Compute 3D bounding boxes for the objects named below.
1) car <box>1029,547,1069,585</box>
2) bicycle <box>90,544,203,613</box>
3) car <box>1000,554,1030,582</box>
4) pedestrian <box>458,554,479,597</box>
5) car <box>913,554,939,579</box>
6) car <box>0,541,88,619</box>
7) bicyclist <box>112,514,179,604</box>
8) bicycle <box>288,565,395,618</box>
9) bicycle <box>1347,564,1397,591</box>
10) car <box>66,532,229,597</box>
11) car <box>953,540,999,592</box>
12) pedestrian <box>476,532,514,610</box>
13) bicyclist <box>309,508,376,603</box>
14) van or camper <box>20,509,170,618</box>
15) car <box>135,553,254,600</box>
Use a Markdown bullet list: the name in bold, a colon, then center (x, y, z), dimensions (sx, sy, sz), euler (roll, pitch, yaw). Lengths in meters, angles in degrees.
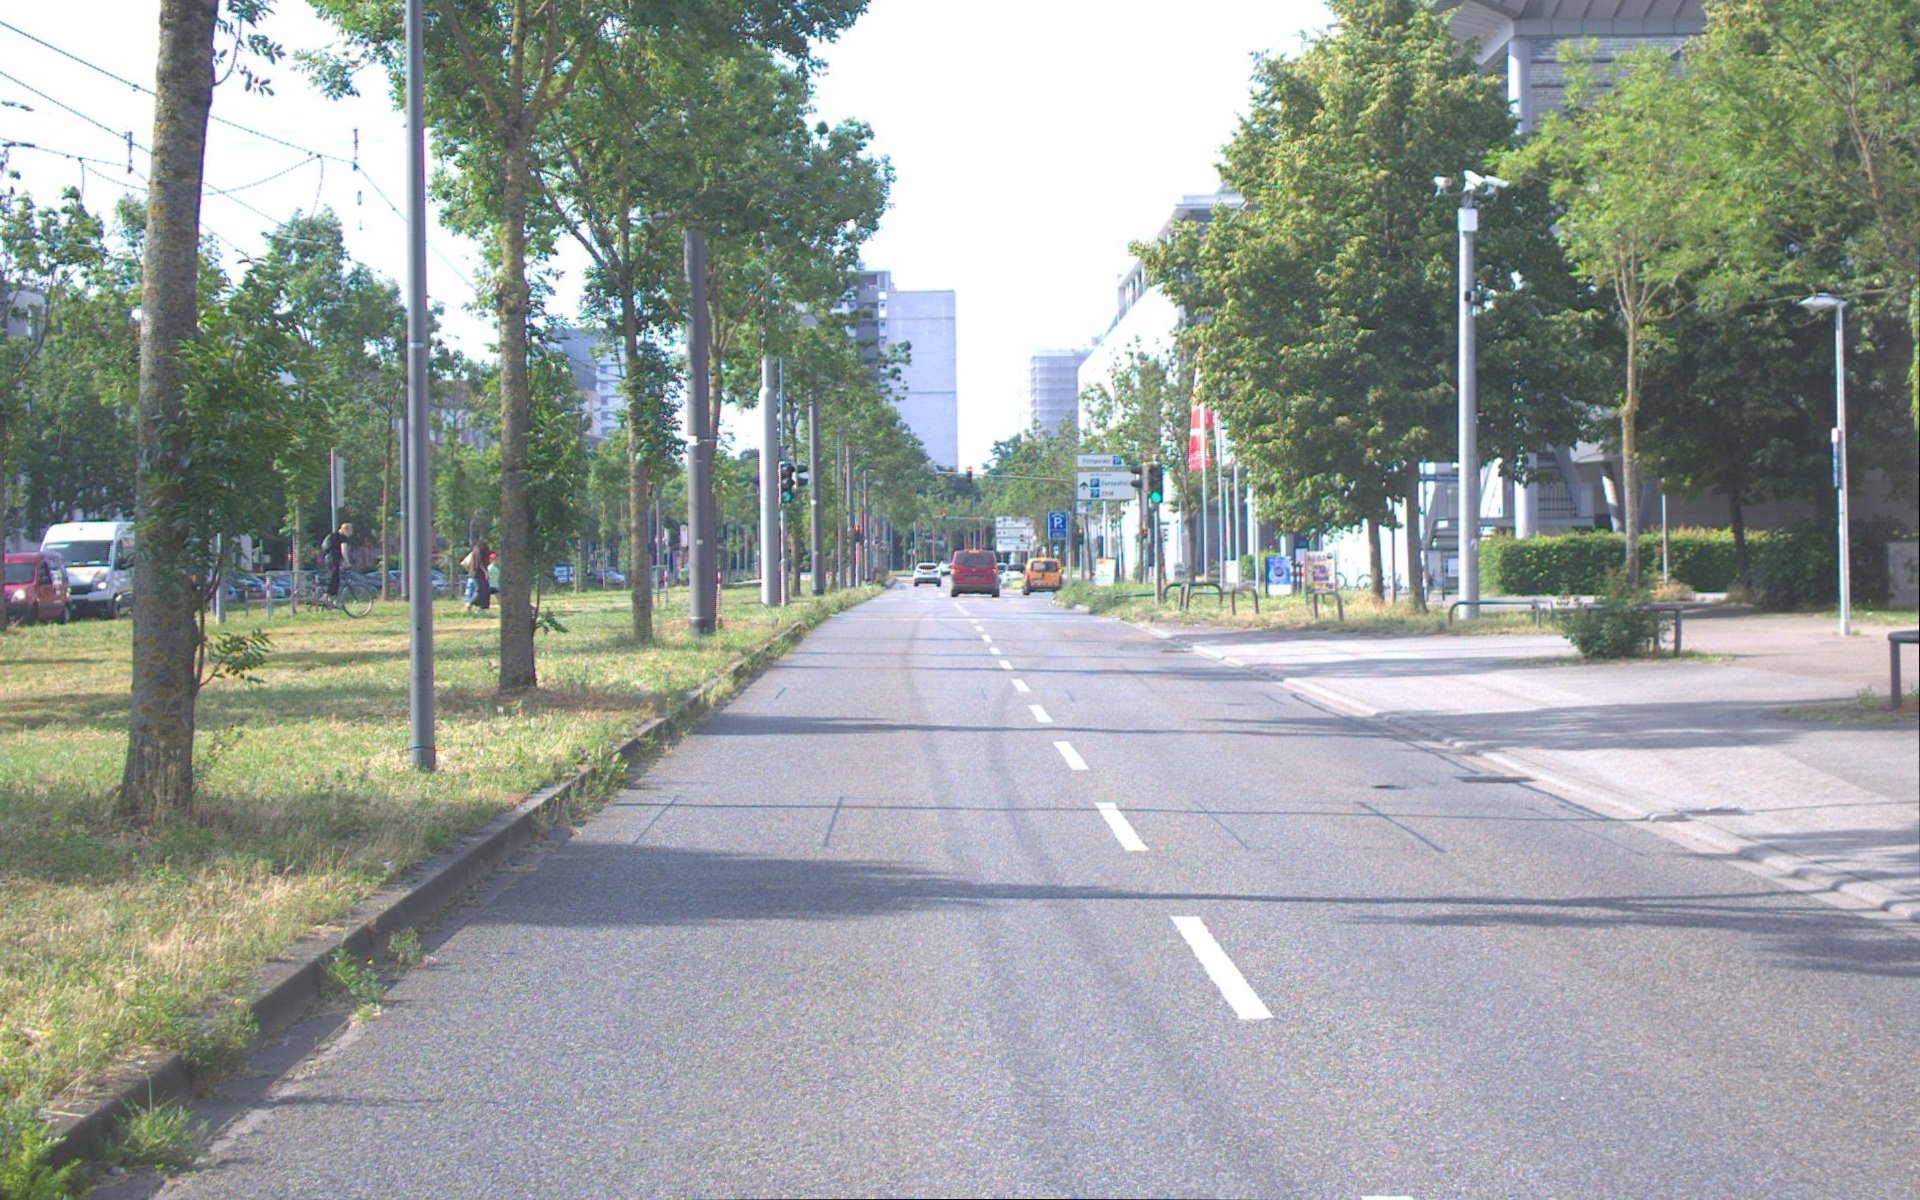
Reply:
- **car**: center (4.062, -1.558, 157.193), dimensions (1.748, 1.645, 3.216), euler (2, 0, 0)
- **bicycle**: center (-16.341, -0.430, 69.051), dimensions (2.066, 1.319, 0.784), euler (1, 0, -26)
- **car**: center (3.354, -1.966, 211.318), dimensions (1.748, 1.645, 3.216), euler (2, 0, 0)
- **pedestrian**: center (-10.026, -0.501, 70.163), dimensions (0.341, 0.872, 0.461), euler (2, 0, 0)
- **car**: center (-2.348, -2.312, 237.173), dimensions (1.748, 1.645, 3.216), euler (2, 0, 0)
- **car**: center (-21.272, -0.462, 77.361), dimensions (1.965, 1.688, 4.297), euler (2, 0, 3)
- **bicyclist**: center (-16.357, -0.825, 69.027), dimensions (1.146, 1.756, 0.686), euler (1, 0, -27)
- **bicycle**: center (-12.819, -0.169, 71.316), dimensions (2.066, 1.039, 0.668), euler (1, 0, -33)
- **bicycle**: center (14.190, -0.759, 118.465), dimensions (1.621, 0.885, 0.551), euler (2, 0, -1)
- **car**: center (-27.112, -1.192, 114.670), dimensions (5.225, 2.007, 1.874), euler (2, 0, 25)
- **car**: center (0.636, -1.351, 137.391), dimensions (1.748, 2.007, 3.216), euler (2, 0, 0)
- **pedestrian**: center (-9.474, -0.597, 70.080), dimensions (0.625, 1.566, 0.711), euler (2, 0, 0)
- **bicyclist**: center (-12.810, -0.924, 71.317), dimensions (1.147, 1.927, 0.686), euler (1, 0, -33)
- **van or camper**: center (-21.154, -0.888, 84.333), dimensions (2.203, 2.522, 6.030), euler (2, 0, -1)
- **car**: center (-26.833, -0.838, 120.529), dimensions (3.992, 1.525, 1.461), euler (2, 0, 25)
